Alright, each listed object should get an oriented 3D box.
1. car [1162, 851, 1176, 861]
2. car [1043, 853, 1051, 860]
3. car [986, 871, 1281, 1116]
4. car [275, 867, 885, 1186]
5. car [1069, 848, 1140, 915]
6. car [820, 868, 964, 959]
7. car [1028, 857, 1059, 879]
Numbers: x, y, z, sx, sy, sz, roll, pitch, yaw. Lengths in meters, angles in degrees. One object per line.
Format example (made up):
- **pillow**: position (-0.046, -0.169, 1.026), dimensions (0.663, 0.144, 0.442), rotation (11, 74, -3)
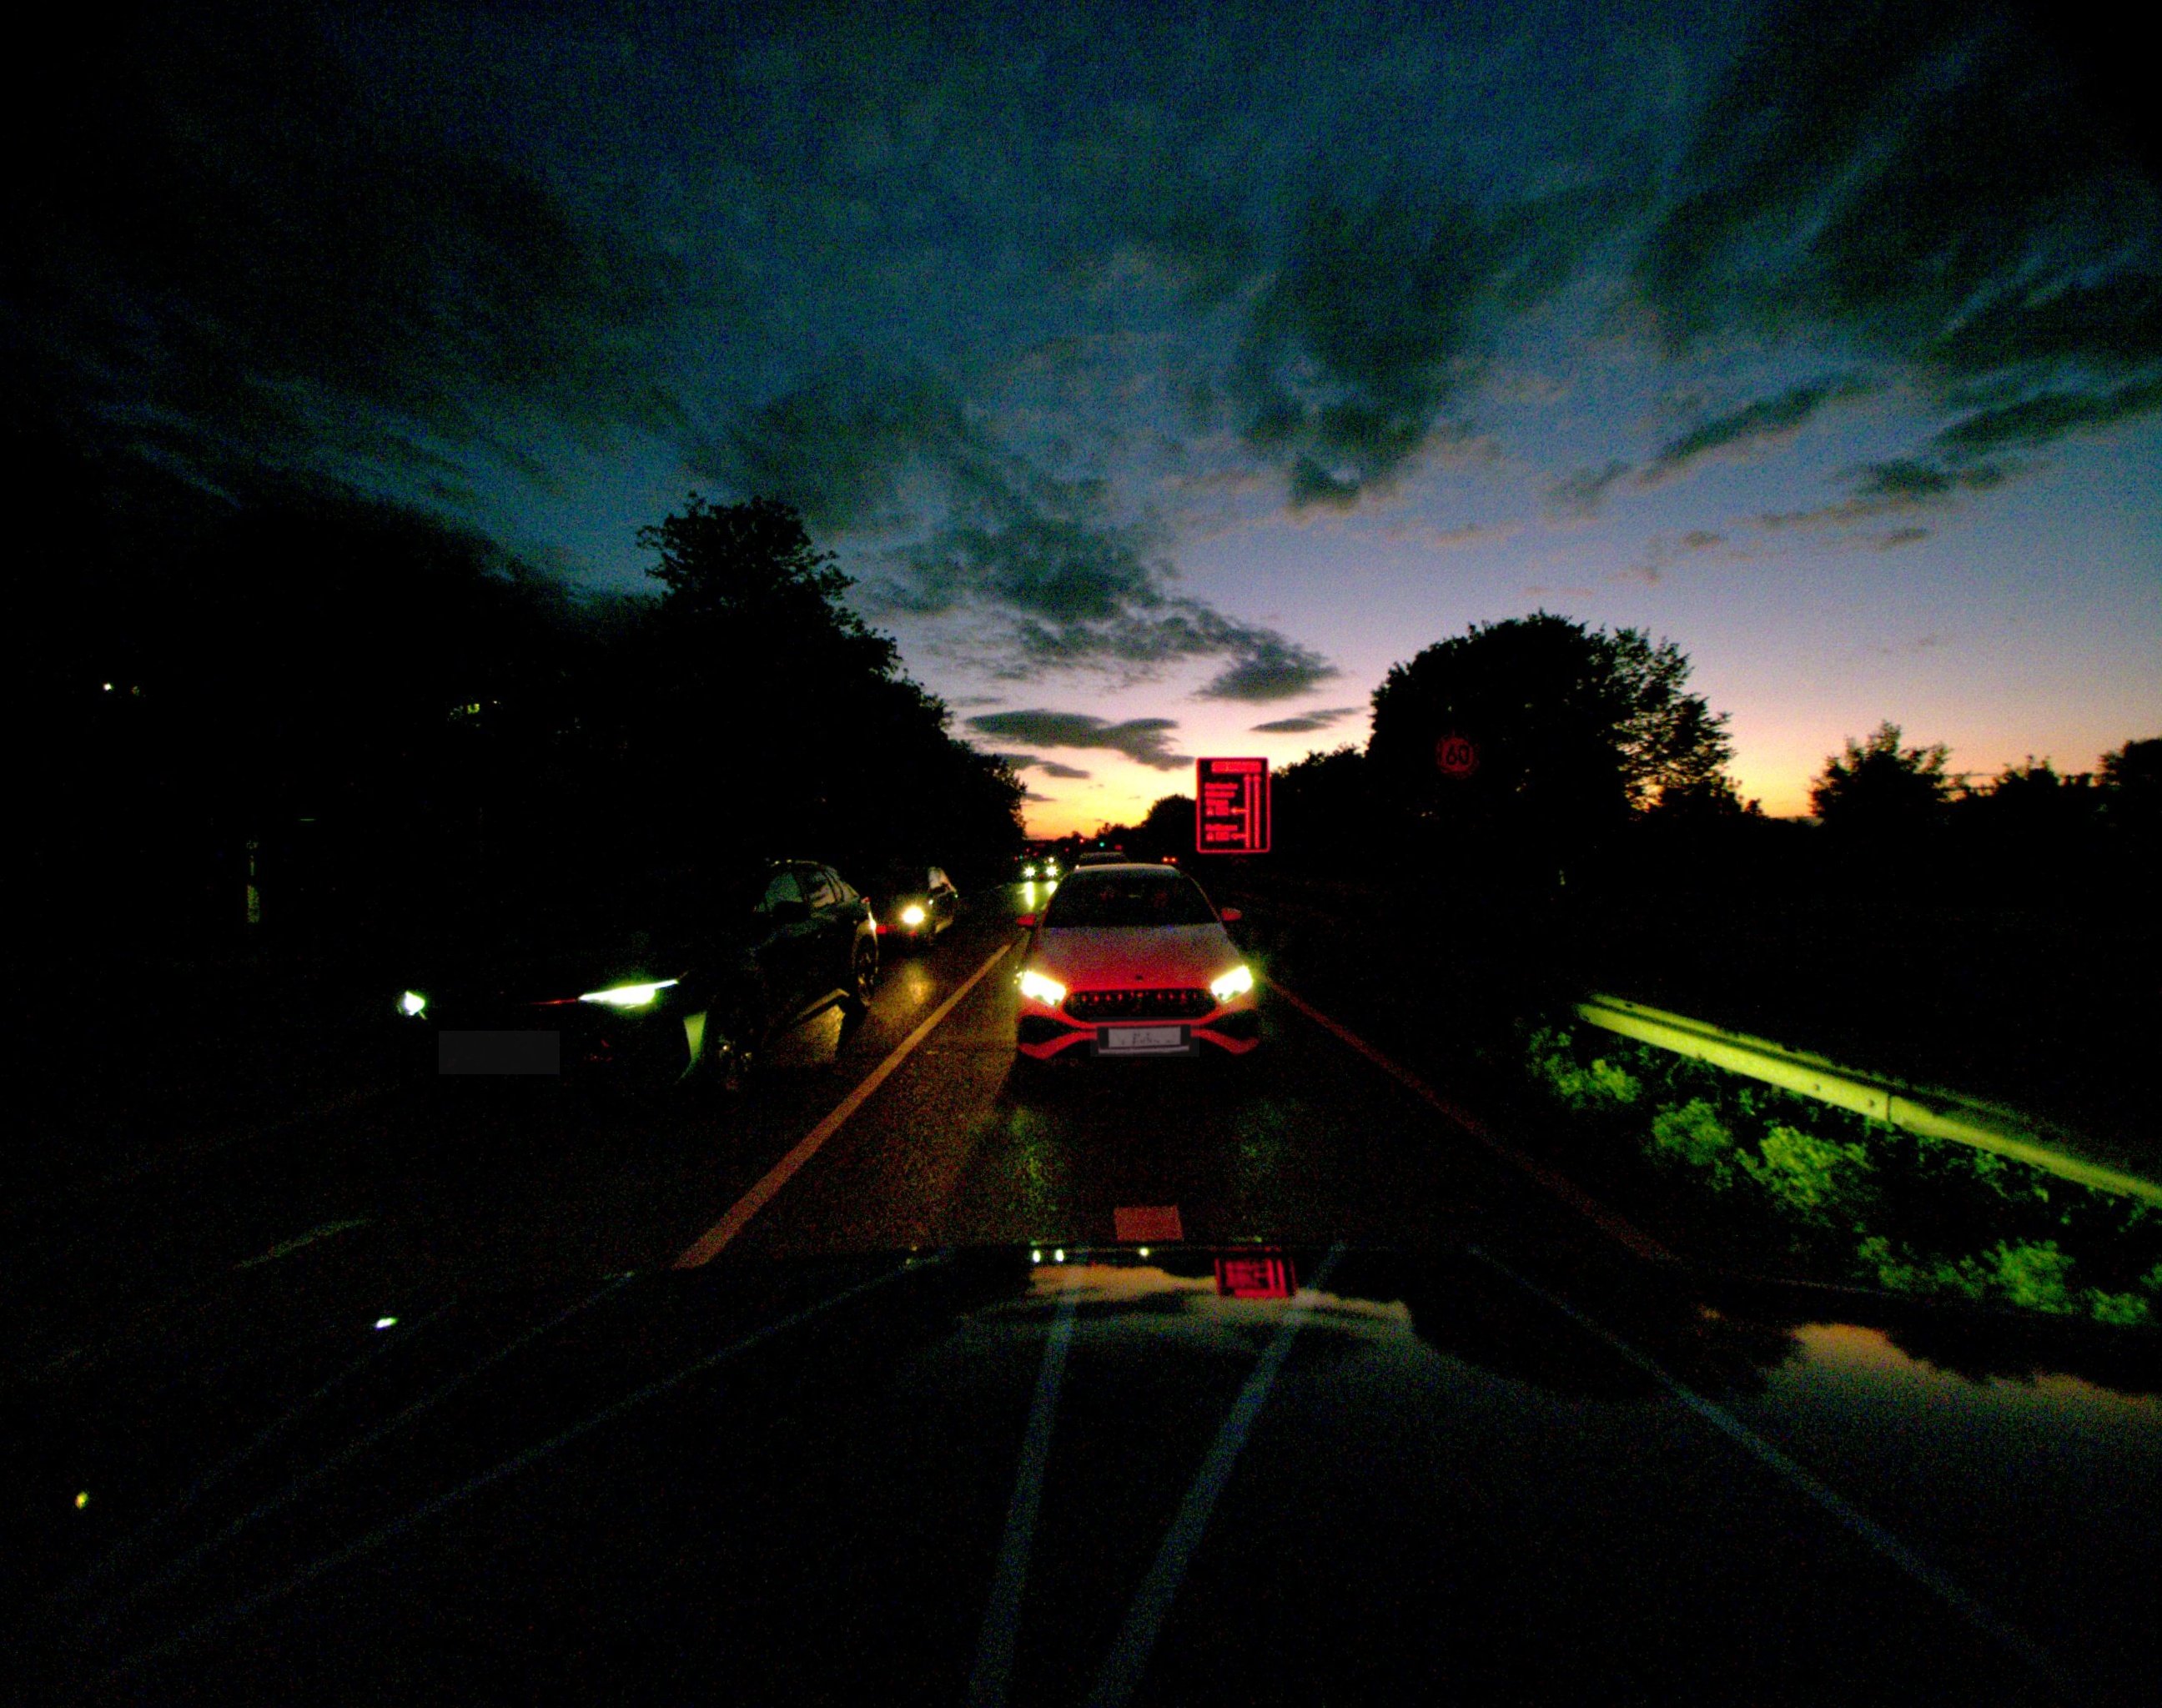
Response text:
- **car**: position (14.574, 0.276, 126.094), dimensions (1.781, 1.551, 4.000), rotation (-2, 1, 1)
- **car**: position (-7.425, 0.575, 166.266), dimensions (1.606, 1.291, 3.552), rotation (-2, 1, -1)
- **car**: position (0.398, 0.939, 7.121), dimensions (1.819, 1.428, 4.647), rotation (-2, 0, 2)
- **car**: position (-3.187, 0.944, 6.128), dimensions (1.901, 1.547, 4.301), rotation (-3, 0, 2)
- **car**: position (0.674, 0.735, 21.811), dimensions (1.760, 1.692, 4.250), rotation (-2, 0, 2)
- **car**: position (-3.370, 1.001, 14.250), dimensions (1.621, 1.405, 3.756), rotation (-1, 0, 2)
- **car**: position (-2.543, 0.927, 51.919), dimensions (1.819, 1.360, 3.999), rotation (-2, 1, 1)
